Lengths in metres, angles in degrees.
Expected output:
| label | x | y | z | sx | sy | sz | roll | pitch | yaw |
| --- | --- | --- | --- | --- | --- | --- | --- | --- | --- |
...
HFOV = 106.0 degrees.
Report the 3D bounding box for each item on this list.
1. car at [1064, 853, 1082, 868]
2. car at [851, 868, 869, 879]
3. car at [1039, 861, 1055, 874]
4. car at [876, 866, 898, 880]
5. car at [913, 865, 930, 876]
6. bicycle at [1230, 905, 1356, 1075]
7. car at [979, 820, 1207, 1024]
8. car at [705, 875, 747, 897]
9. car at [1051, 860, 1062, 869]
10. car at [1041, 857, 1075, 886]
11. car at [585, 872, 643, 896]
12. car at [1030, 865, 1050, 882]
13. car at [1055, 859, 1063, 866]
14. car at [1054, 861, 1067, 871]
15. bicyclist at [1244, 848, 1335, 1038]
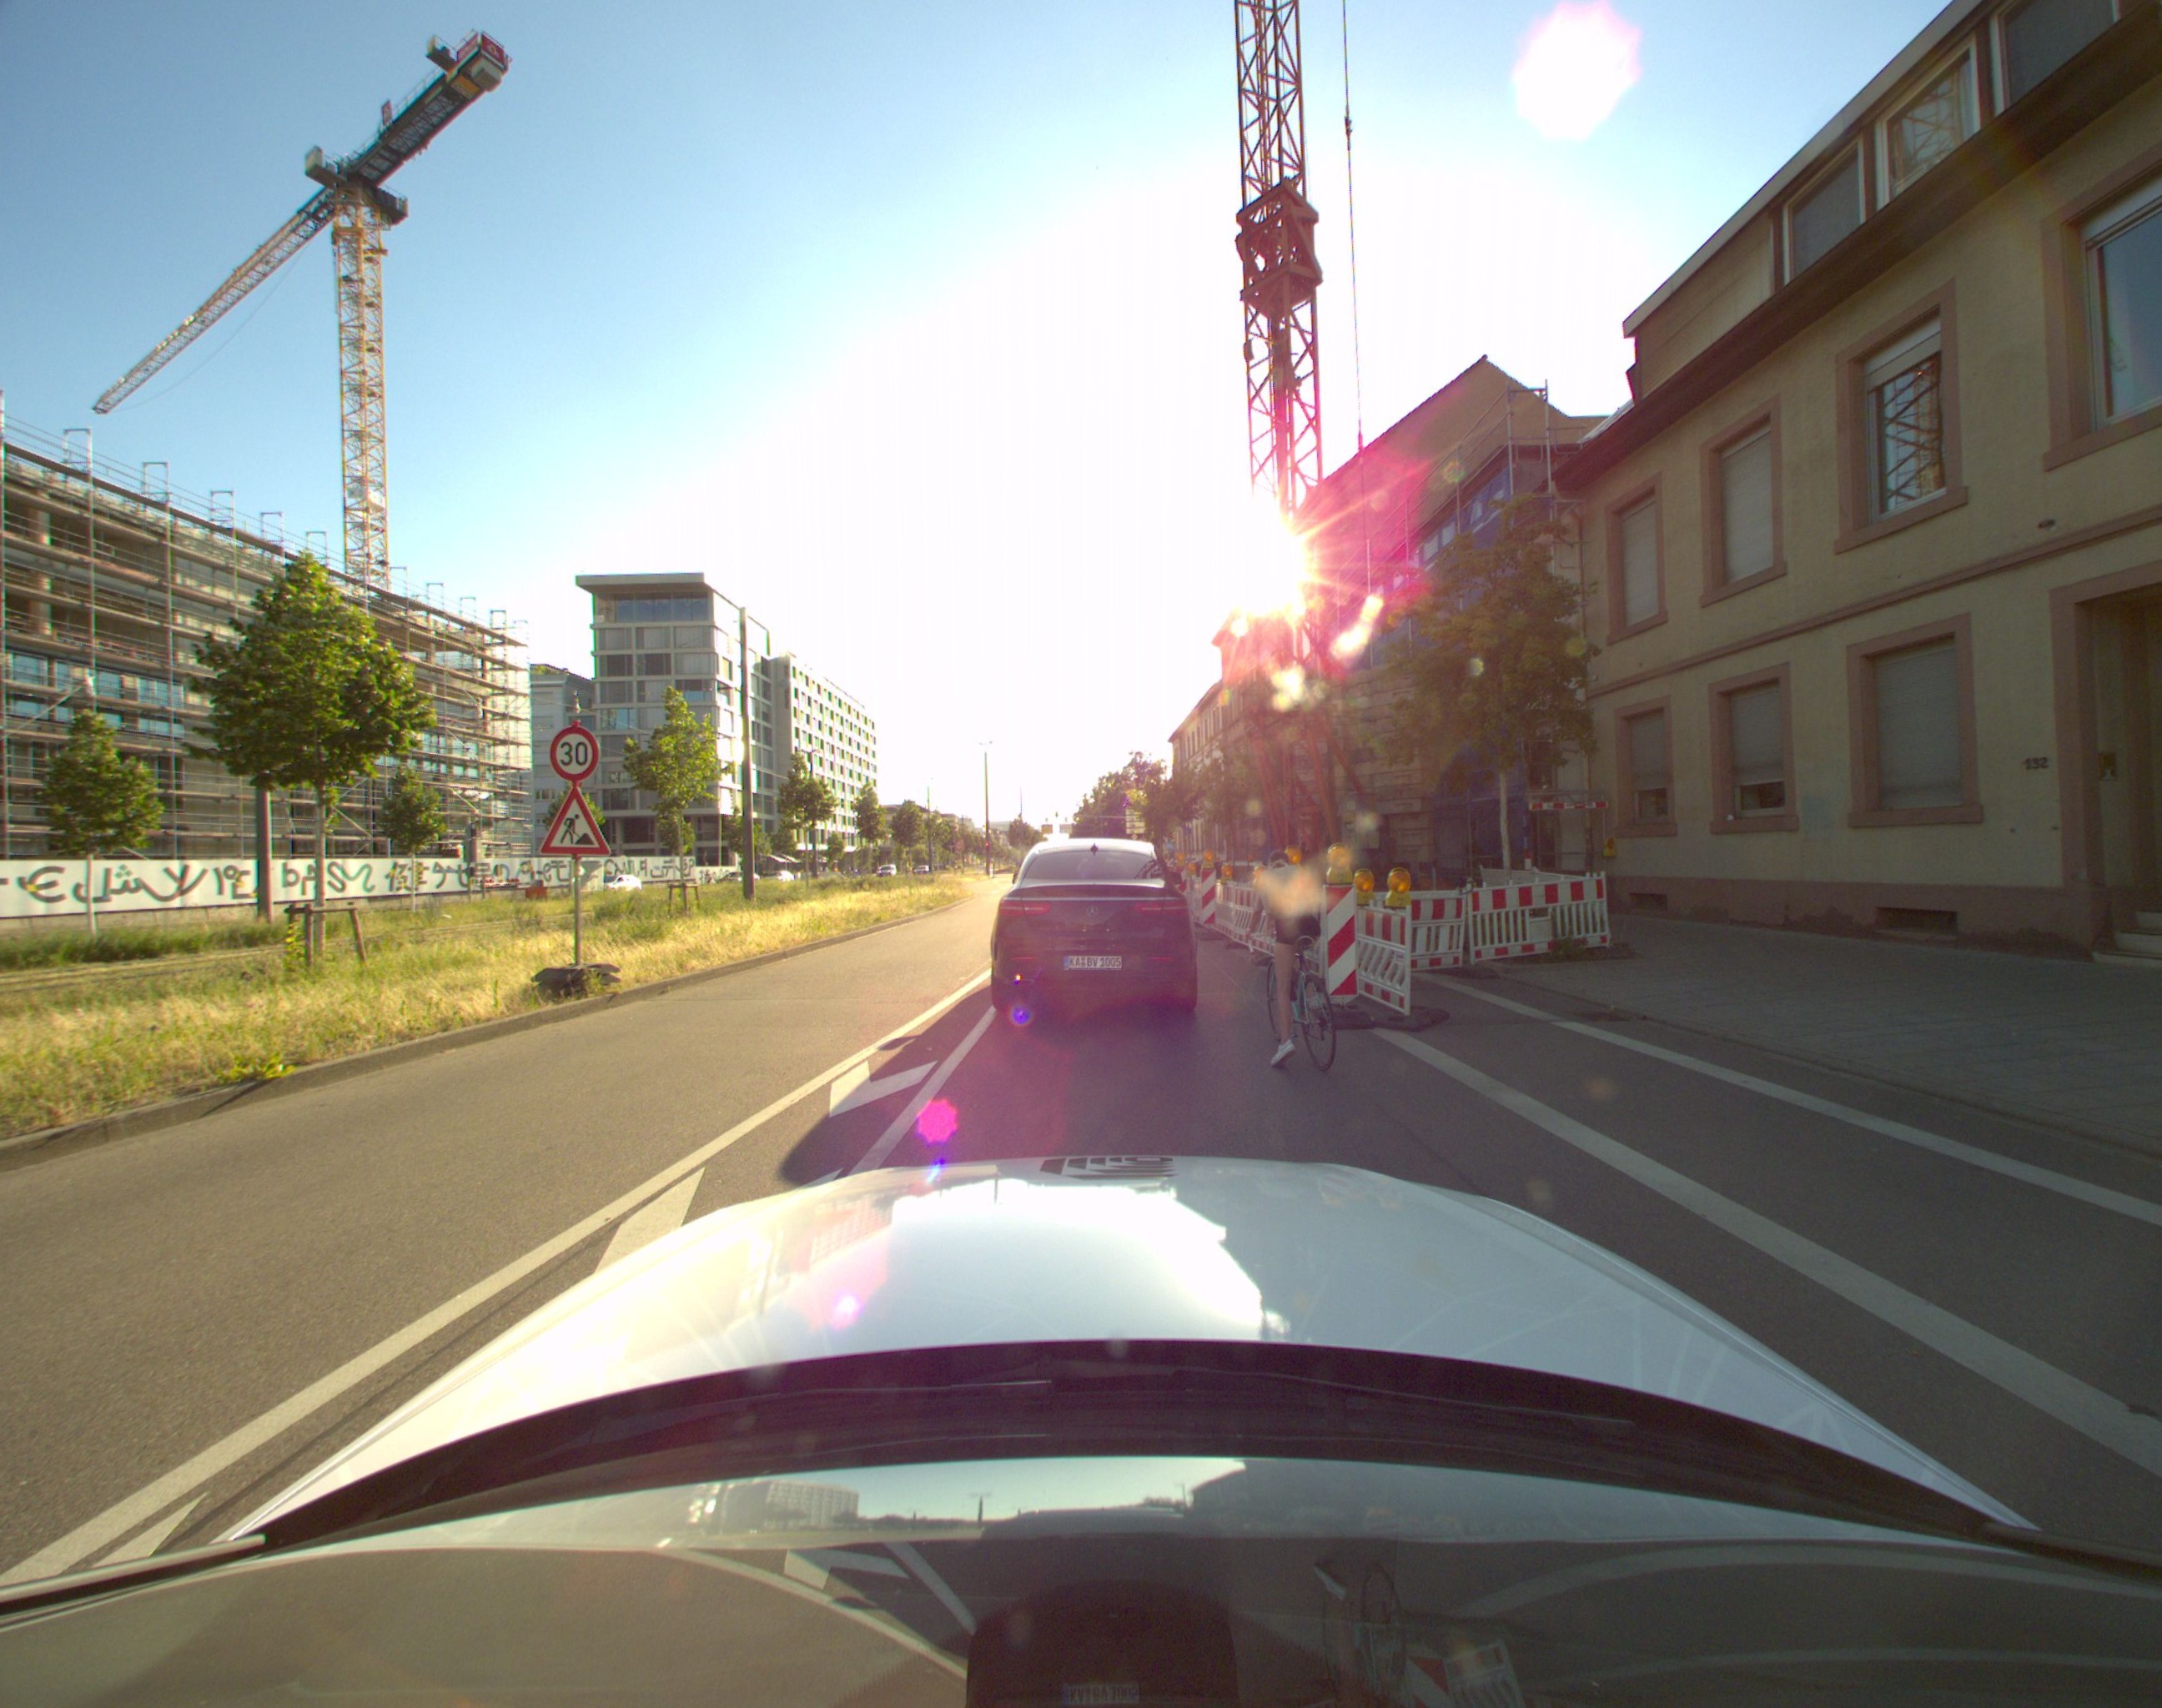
| label | x | y | z | sx | sy | sz | roll | pitch | yaw |
| --- | --- | --- | --- | --- | --- | --- | --- | --- | --- |
| car | -0.811 | 0.653 | 79.496 | 1.703 | 1.442 | 3.581 | 0 | -1 | 0 |
| car | -32.177 | 2.826 | 118.500 | 1.703 | 1.442 | 3.581 | 0 | -1 | 0 |
| car | -3.876 | 1.493 | 93.048 | 1.703 | 1.442 | 3.581 | 0 | -1 | 0 |
| car | -25.740 | 2.507 | 108.009 | 1.782 | 1.684 | 3.643 | 0 | -1 | 5 |
| car | -22.633 | 2.345 | 115.450 | 1.703 | 1.442 | 3.581 | 0 | -1 | 0 |
| bicycle | 1.597 | 0.976 | 6.393 | 0.511 | 1.052 | 1.724 | 0 | -1 | -1 |
| car | 0.170 | 0.615 | 9.138 | 1.986 | 1.772 | 4.001 | 0 | -1 | 2 |
| car | -29.198 | 2.630 | 67.062 | 1.784 | 1.684 | 3.638 | 0 | -1 | 1 |
| car | -3.998 | 1.796 | 135.155 | 1.703 | 1.442 | 3.581 | 0 | -1 | 0 |
| car | -1.168 | 0.890 | 43.268 | 1.703 | 1.442 | 3.582 | -1 | 0 | 0 |
| car | -30.035 | 1.897 | 52.466 | 1.703 | 1.442 | 3.581 | 0 | -1 | 0 |
| car | -3.727 | 1.751 | 74.581 | 1.703 | 1.442 | 3.581 | 0 | -1 | 0 |
| car | -5.007 | 1.917 | 184.940 | 1.703 | 1.442 | 3.581 | 0 | -1 | 0 |
| car | -2.976 | 1.698 | 119.358 | 1.703 | 1.442 | 3.581 | 0 | -1 | 0 |
| bicyclist | 1.595 | 0.656 | 6.297 | 0.521 | 1.395 | 0.614 | 0 | -1 | -1 |
